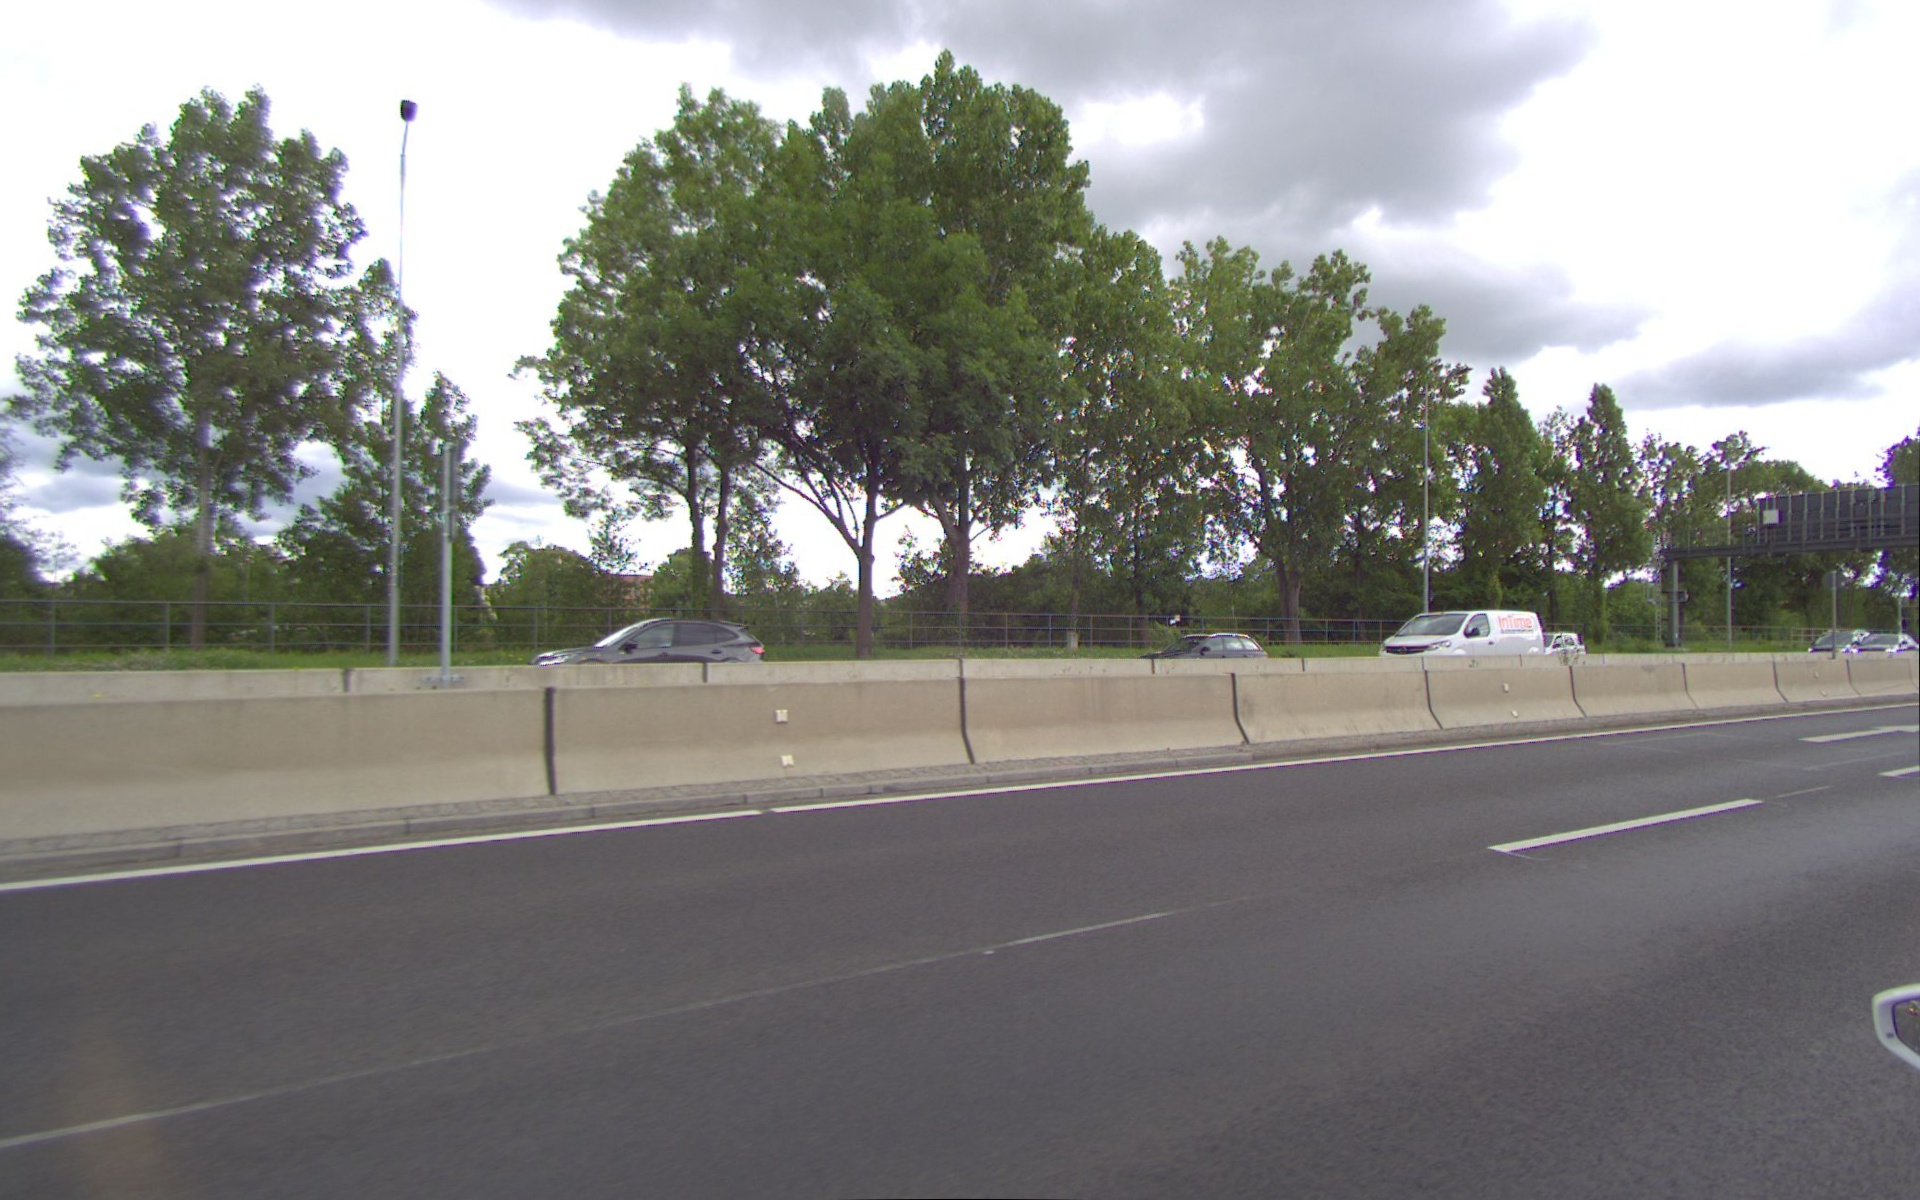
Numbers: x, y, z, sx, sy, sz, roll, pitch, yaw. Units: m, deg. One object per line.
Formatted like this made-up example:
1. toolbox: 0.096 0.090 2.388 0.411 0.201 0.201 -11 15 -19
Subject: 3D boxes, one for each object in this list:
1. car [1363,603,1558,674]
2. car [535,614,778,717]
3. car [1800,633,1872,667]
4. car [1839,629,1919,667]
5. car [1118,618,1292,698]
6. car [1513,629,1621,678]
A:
1. car: 12.508 0.919 25.040 4.826 1.580 1.984 1 1 -29
2. car: -5.967 1.214 19.848 4.254 1.762 1.983 1 1 -31
3. car: 47.826 2.713 54.834 3.883 1.705 1.868 1 1 -32
4. car: 45.437 2.336 49.637 4.079 1.705 1.868 1 1 -32
5. car: 6.892 1.565 28.163 4.608 2.040 1.984 1 1 -29
6. car: 23.243 2.000 38.443 4.076 1.705 1.868 1 1 -32
